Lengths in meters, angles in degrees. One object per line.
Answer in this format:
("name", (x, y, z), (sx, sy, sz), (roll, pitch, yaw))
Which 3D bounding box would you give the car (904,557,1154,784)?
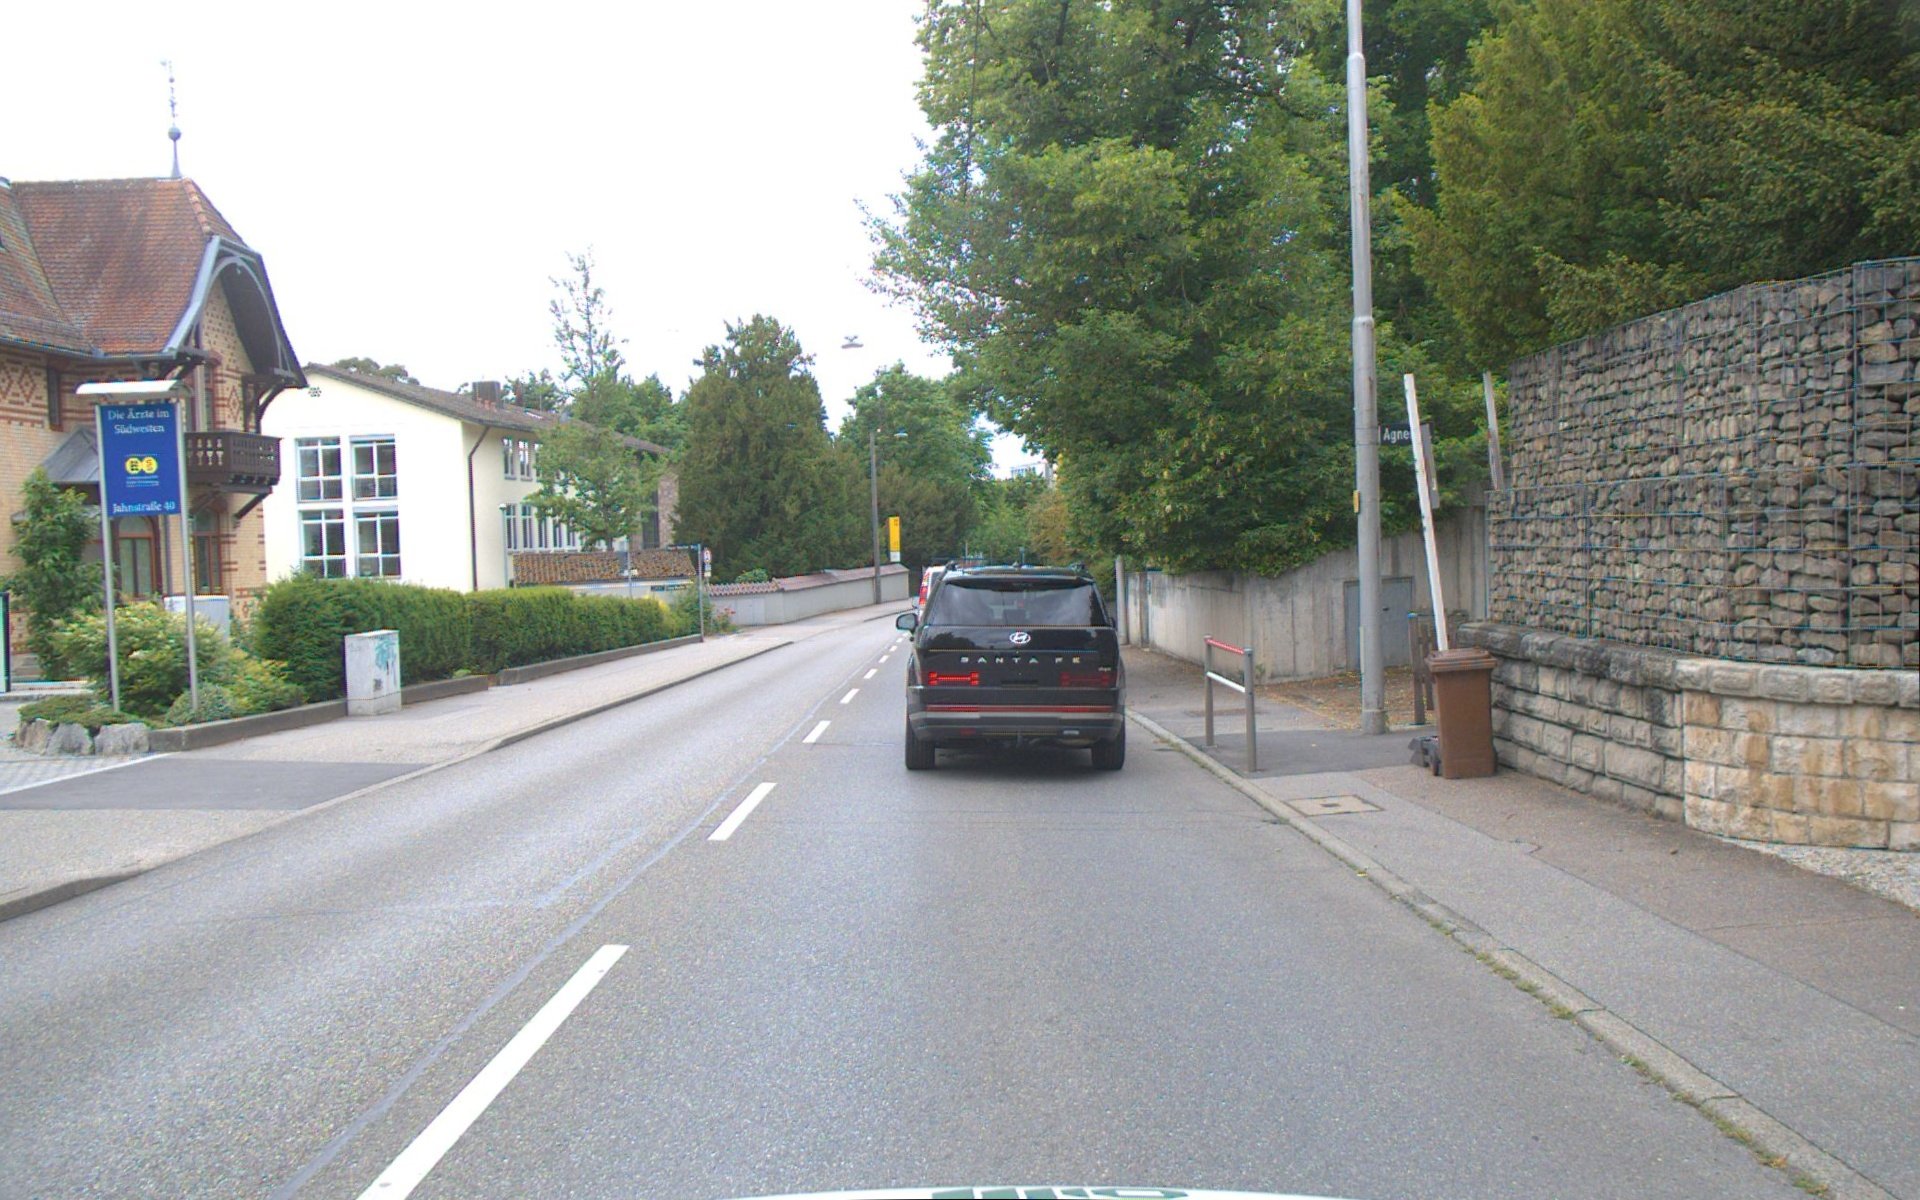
("car", (0.534, 0.518, 14.913), (1.917, 1.742, 4.223), (1, 1, 0))

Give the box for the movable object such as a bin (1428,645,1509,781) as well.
("movable object such as a bin", (3.704, 0.819, 12.062), (0.436, 0.925, 0.394), (-5, 0, 9))

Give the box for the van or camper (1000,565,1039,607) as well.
("van or camper", (3.188, -0.783, 88.486), (1.640, 2.042, 3.942), (-2, 2, 8))

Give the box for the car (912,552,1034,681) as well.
("car", (0.208, 0.204, 28.377), (1.917, 1.989, 4.224), (0, 2, 0))
